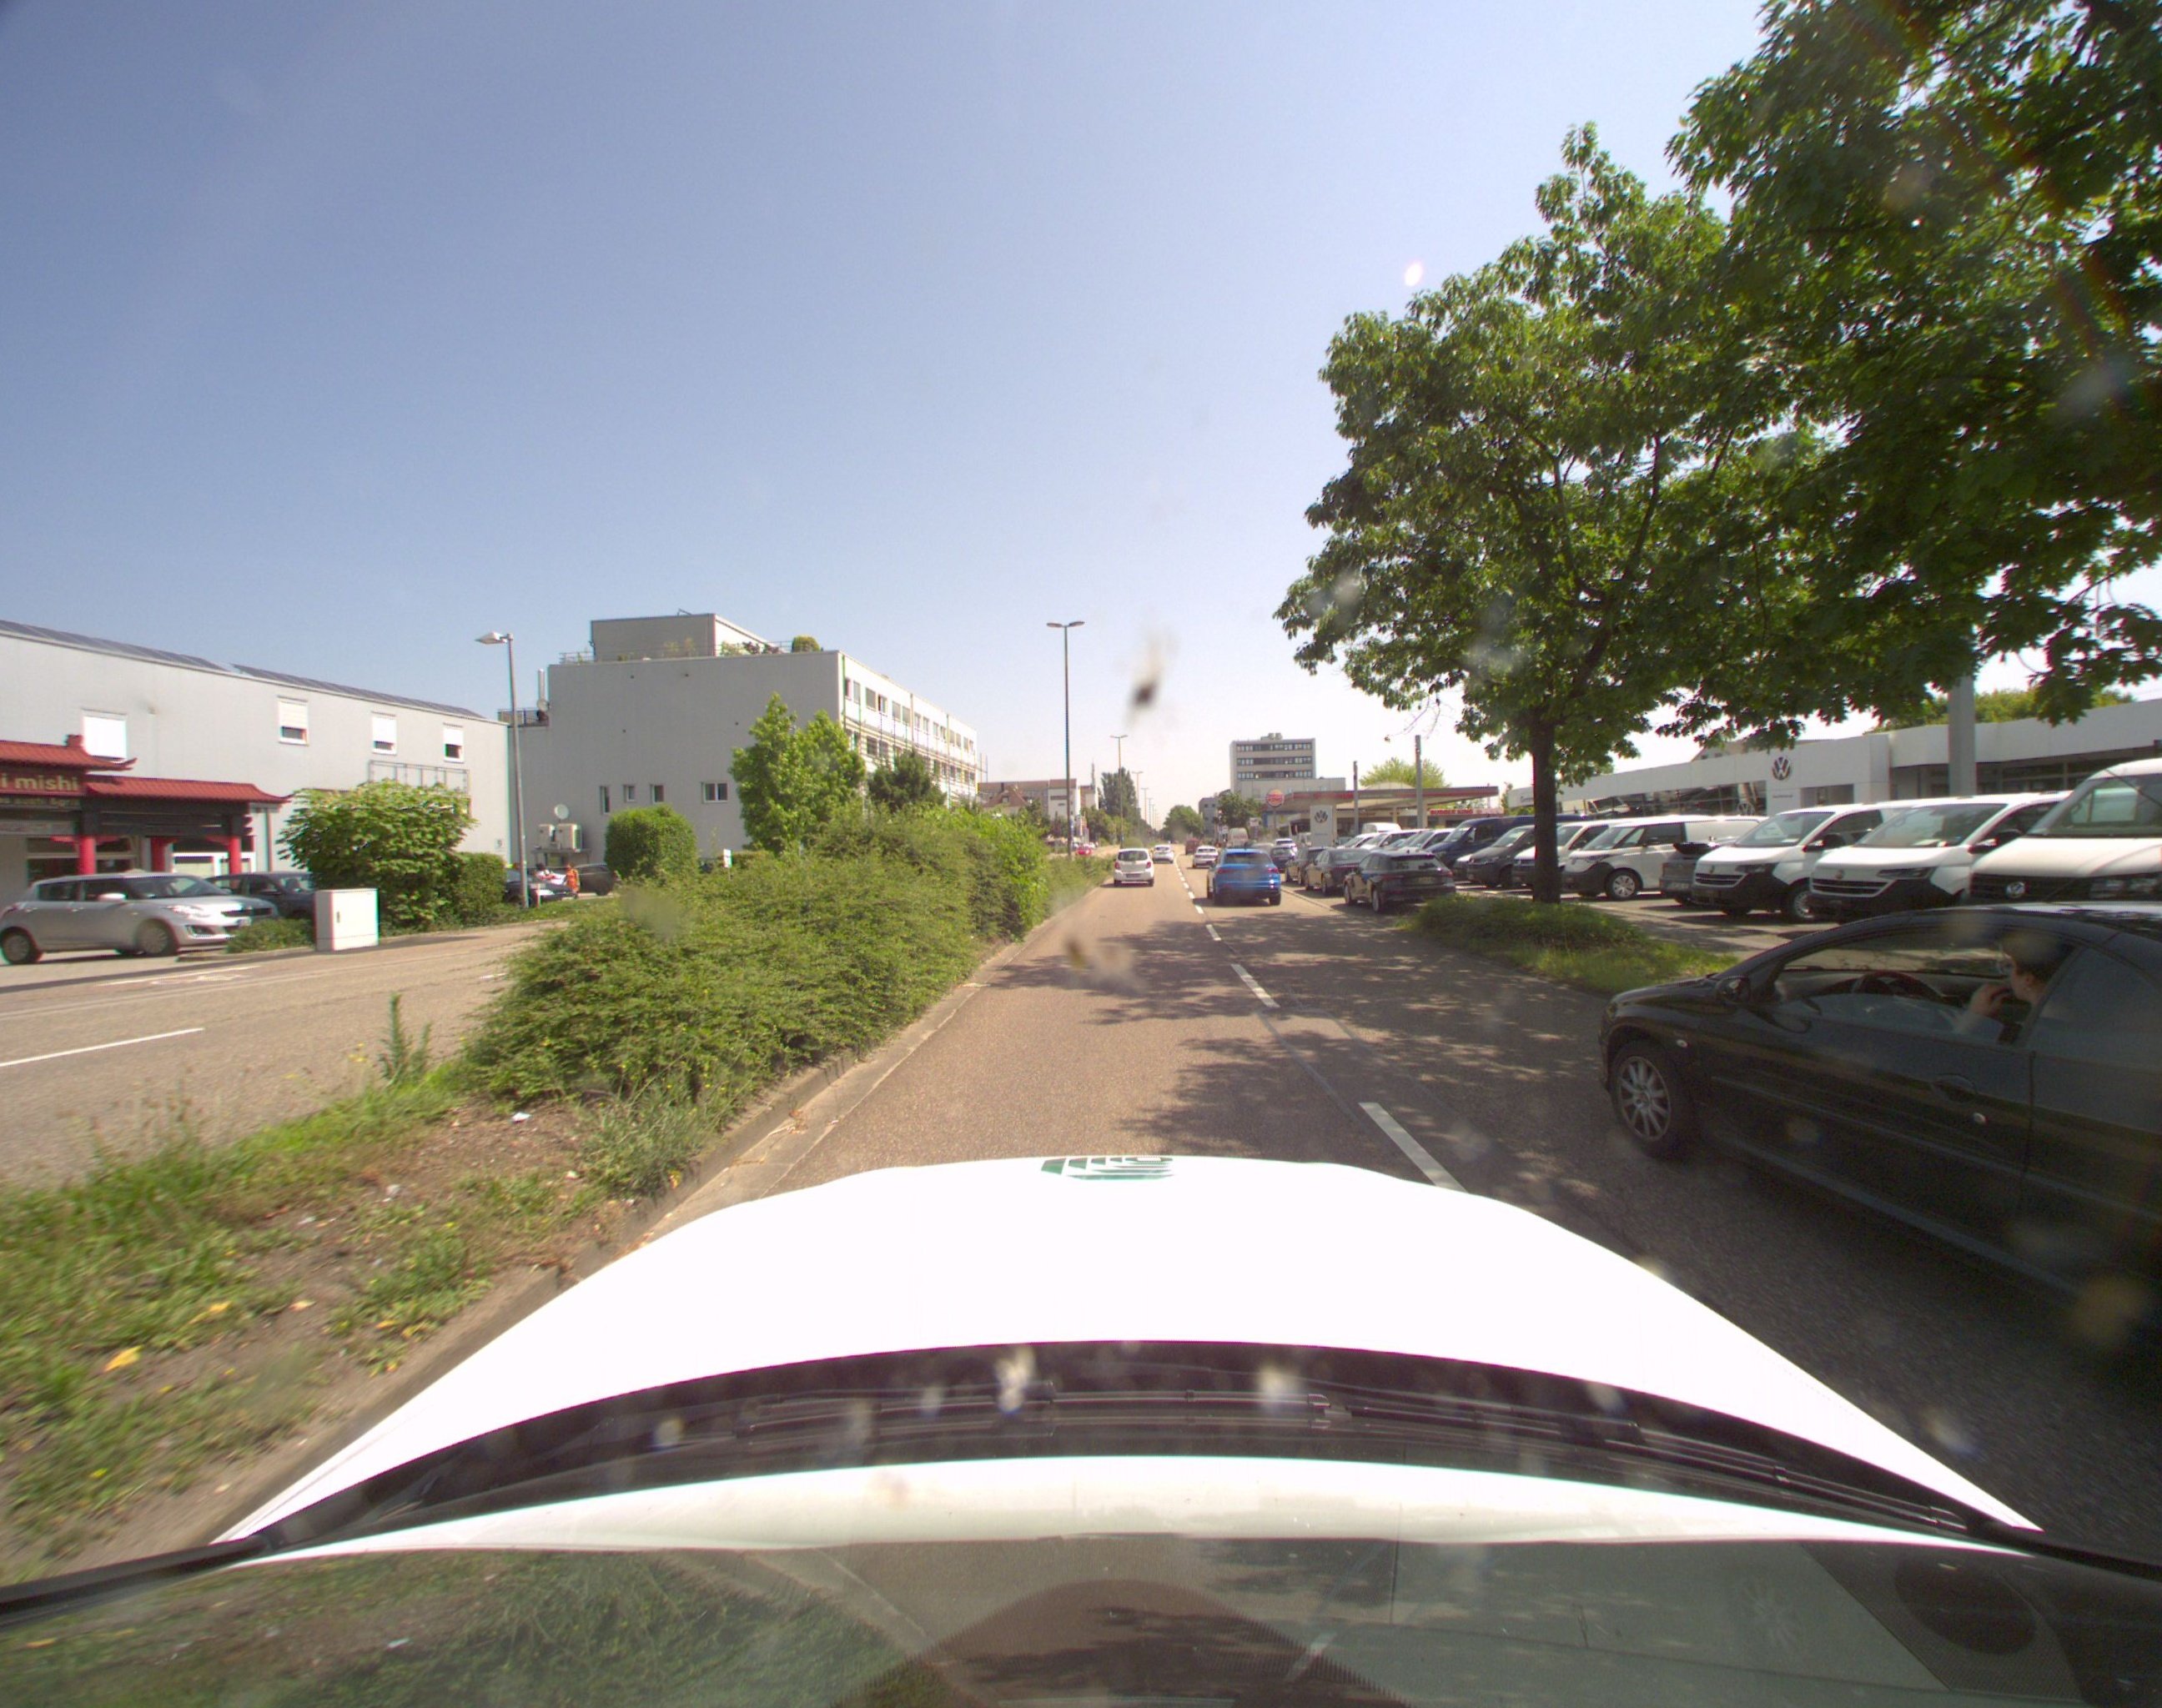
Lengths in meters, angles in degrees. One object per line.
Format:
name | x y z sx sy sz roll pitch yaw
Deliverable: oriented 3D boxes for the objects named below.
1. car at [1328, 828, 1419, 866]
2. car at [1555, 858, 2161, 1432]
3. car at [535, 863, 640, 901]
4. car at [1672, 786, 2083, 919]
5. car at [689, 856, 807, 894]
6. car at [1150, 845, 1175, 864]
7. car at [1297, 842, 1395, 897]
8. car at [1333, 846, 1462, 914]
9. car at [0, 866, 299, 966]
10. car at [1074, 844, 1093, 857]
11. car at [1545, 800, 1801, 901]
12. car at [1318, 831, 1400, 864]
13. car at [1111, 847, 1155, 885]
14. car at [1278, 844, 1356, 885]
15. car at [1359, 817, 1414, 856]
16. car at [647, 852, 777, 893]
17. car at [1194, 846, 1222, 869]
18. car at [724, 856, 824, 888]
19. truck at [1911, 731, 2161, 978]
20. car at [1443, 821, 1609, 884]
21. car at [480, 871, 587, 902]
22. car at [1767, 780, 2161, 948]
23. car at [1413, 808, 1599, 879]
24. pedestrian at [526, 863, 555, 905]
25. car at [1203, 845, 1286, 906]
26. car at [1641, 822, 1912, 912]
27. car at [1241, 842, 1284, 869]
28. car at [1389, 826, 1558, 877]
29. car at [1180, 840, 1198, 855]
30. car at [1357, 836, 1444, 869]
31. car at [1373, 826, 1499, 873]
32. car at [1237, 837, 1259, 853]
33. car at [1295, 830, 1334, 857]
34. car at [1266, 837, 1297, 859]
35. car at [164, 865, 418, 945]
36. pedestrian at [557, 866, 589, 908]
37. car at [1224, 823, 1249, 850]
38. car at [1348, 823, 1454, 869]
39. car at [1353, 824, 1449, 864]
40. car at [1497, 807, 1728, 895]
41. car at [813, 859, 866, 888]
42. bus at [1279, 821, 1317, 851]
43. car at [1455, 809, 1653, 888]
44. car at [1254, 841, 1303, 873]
car | 16.673 -0.377 46.620 4.535 1.888 1.859 -3 -1 4
car | 3.573 0.749 3.025 1.594 1.425 3.663 0 0 2
car | -25.059 1.405 41.451 3.974 1.623 2.000 -4 0 0
car | 13.722 -0.013 14.365 4.888 1.971 2.145 -3 0 5
car | -14.275 0.895 35.056 4.204 1.349 1.983 -3 1 4
car | 6.479 0.057 64.959 1.822 1.450 4.004 0 0 4
car | 8.610 0.423 26.936 1.951 1.530 5.169 -4 0 6
car | 7.697 0.567 20.271 1.674 1.435 4.443 -2 0 4
car | -16.714 1.079 14.502 3.974 1.459 1.575 -4 -1 0
car | 0.341 -0.387 91.714 1.622 1.424 3.457 -4 0 7
car | 14.312 -0.061 19.988 4.486 2.013 2.202 -4 -1 6
car | 16.989 -0.404 49.851 4.392 1.882 1.912 -2 1 4
car | 2.136 0.514 33.745 1.705 1.511 3.249 0 -1 3
car | 9.419 0.376 32.901 1.847 1.481 5.160 -1 0 3
car | 23.239 -1.326 62.254 2.244 2.675 7.030 -2 1 6
car | -14.527 0.699 32.247 4.131 1.342 2.045 -3 1 3
car | 8.286 0.245 53.284 1.658 1.399 3.800 -1 -1 7
car | -14.118 0.802 37.550 3.820 1.230 1.862 -3 1 4
truck | 12.944 -0.106 8.896 5.219 2.436 2.115 -3 0 7
car | 15.133 -0.055 27.908 4.546 1.851 1.954 -3 1 4
car | -26.052 1.532 38.818 3.819 1.285 1.863 -2 0 5
car | 13.278 0.101 11.687 4.926 2.113 2.162 -2 0 4
car | 15.778 -0.342 30.555 5.810 2.524 2.209 0 -1 8
pedestrian | -20.455 1.139 30.856 0.577 1.578 0.704 0 -1 4
car | 4.670 0.563 23.847 1.904 1.597 4.401 0 0 5
car | 14.307 0.226 16.929 4.012 1.470 1.913 -4 1 -1
car | 10.987 0.057 49.577 1.726 1.552 4.181 -1 1 1
car | 15.909 -0.093 33.315 5.860 2.013 2.264 0 0 8
car | 12.502 -0.761 94.545 1.787 1.729 3.977 0 0 4
car | 15.227 -0.072 38.977 3.607 1.570 1.722 0 0 11
car | 15.722 -0.216 36.309 4.762 1.984 2.008 0 2 6
car | 16.600 -0.921 81.053 1.649 1.519 3.826 -3 1 6
car | 17.832 -0.814 62.473 1.984 2.023 5.168 0 1 5
car | 15.423 -0.503 62.758 1.659 1.596 4.620 -2 1 6
car | -16.629 1.049 17.237 3.975 1.371 1.673 -3 1 7
pedestrian | -19.474 1.272 31.219 0.639 1.584 0.826 0 -1 4
car | 17.947 -2.046 94.470 2.121 2.839 7.325 -6 0 7
car | 16.282 -0.422 41.578 4.620 2.013 1.962 -3 1 3
car | 16.163 -0.490 41.328 4.131 1.781 1.883 -3 -1 4
car | 14.865 -0.073 23.025 5.040 2.097 2.043 -3 0 5
car | -14.280 1.149 48.314 1.651 1.467 3.804 -4 1 5
bus | 23.455 -2.032 88.697 2.787 3.078 12.319 -1 2 9
car | 14.653 -0.179 25.503 4.877 2.114 2.132 -3 1 4
car | 10.641 0.151 44.202 1.706 1.548 4.795 -2 0 4
